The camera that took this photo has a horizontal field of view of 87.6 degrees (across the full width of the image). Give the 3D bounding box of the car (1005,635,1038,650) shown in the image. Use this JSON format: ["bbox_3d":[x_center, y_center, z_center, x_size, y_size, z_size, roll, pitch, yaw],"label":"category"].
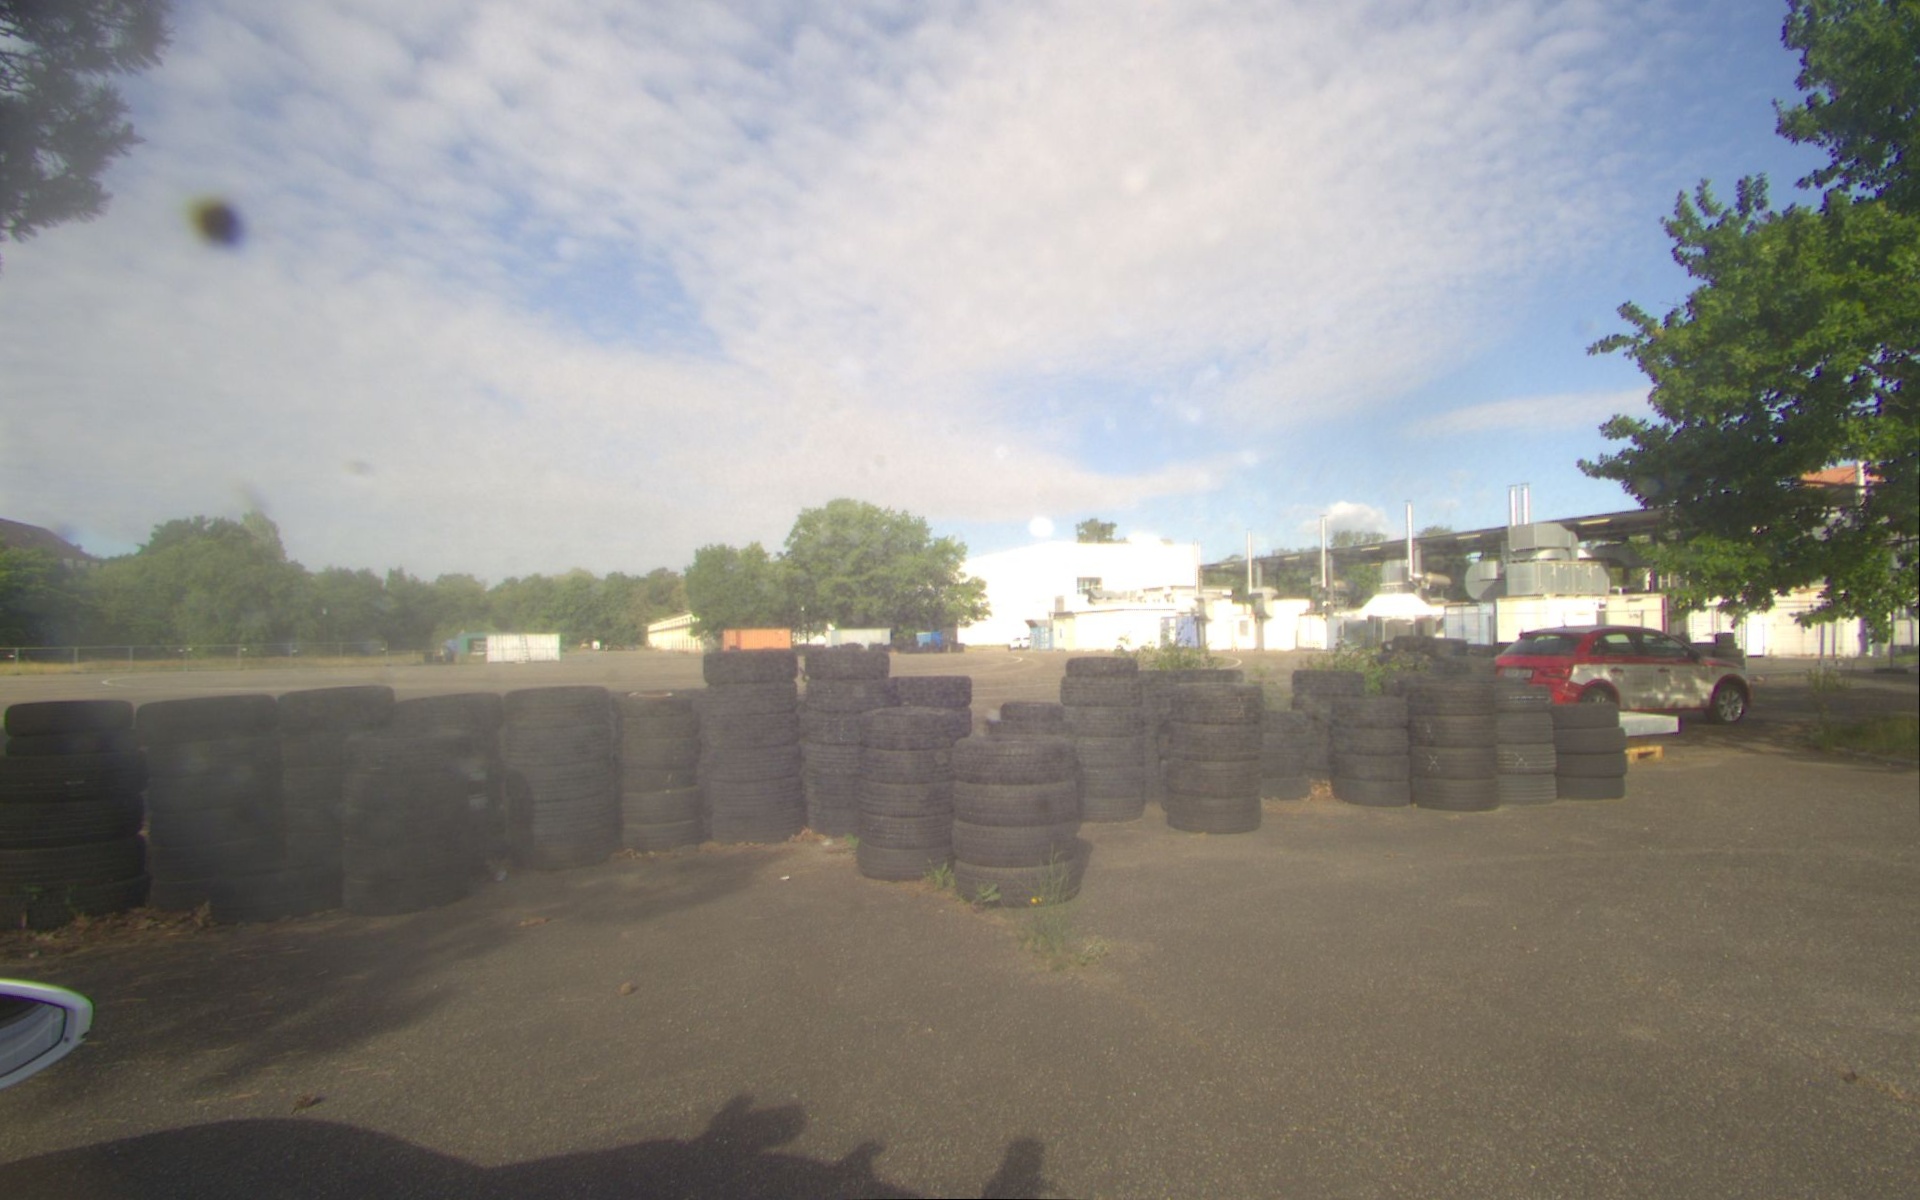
[{"bbox_3d":[6.748,4.655,110.447,1.845,1.584,4.535,0,-2,-23],"label":"car"}]

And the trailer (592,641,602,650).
[{"bbox_3d":[-84.127,10.576,232.044,2.031,2.039,3.990,0,-2,-22],"label":"trailer"}]

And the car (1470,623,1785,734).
[{"bbox_3d":[9.879,1.101,14.900,3.928,1.482,1.726,0,-2,-15],"label":"car"}]

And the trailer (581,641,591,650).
[{"bbox_3d":[-86.869,10.577,232.375,1.967,2.039,3.989,0,-2,-23],"label":"trailer"}]

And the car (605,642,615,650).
[{"bbox_3d":[-80.907,10.651,231.580,1.968,1.772,3.988,0,-2,-24],"label":"car"}]

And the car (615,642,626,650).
[{"bbox_3d":[-78.899,10.632,232.596,2.005,1.831,3.988,0,-2,-24],"label":"car"}]

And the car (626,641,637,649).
[{"bbox_3d":[-76.579,10.539,233.540,1.968,1.772,3.988,0,-2,-24],"label":"car"}]
